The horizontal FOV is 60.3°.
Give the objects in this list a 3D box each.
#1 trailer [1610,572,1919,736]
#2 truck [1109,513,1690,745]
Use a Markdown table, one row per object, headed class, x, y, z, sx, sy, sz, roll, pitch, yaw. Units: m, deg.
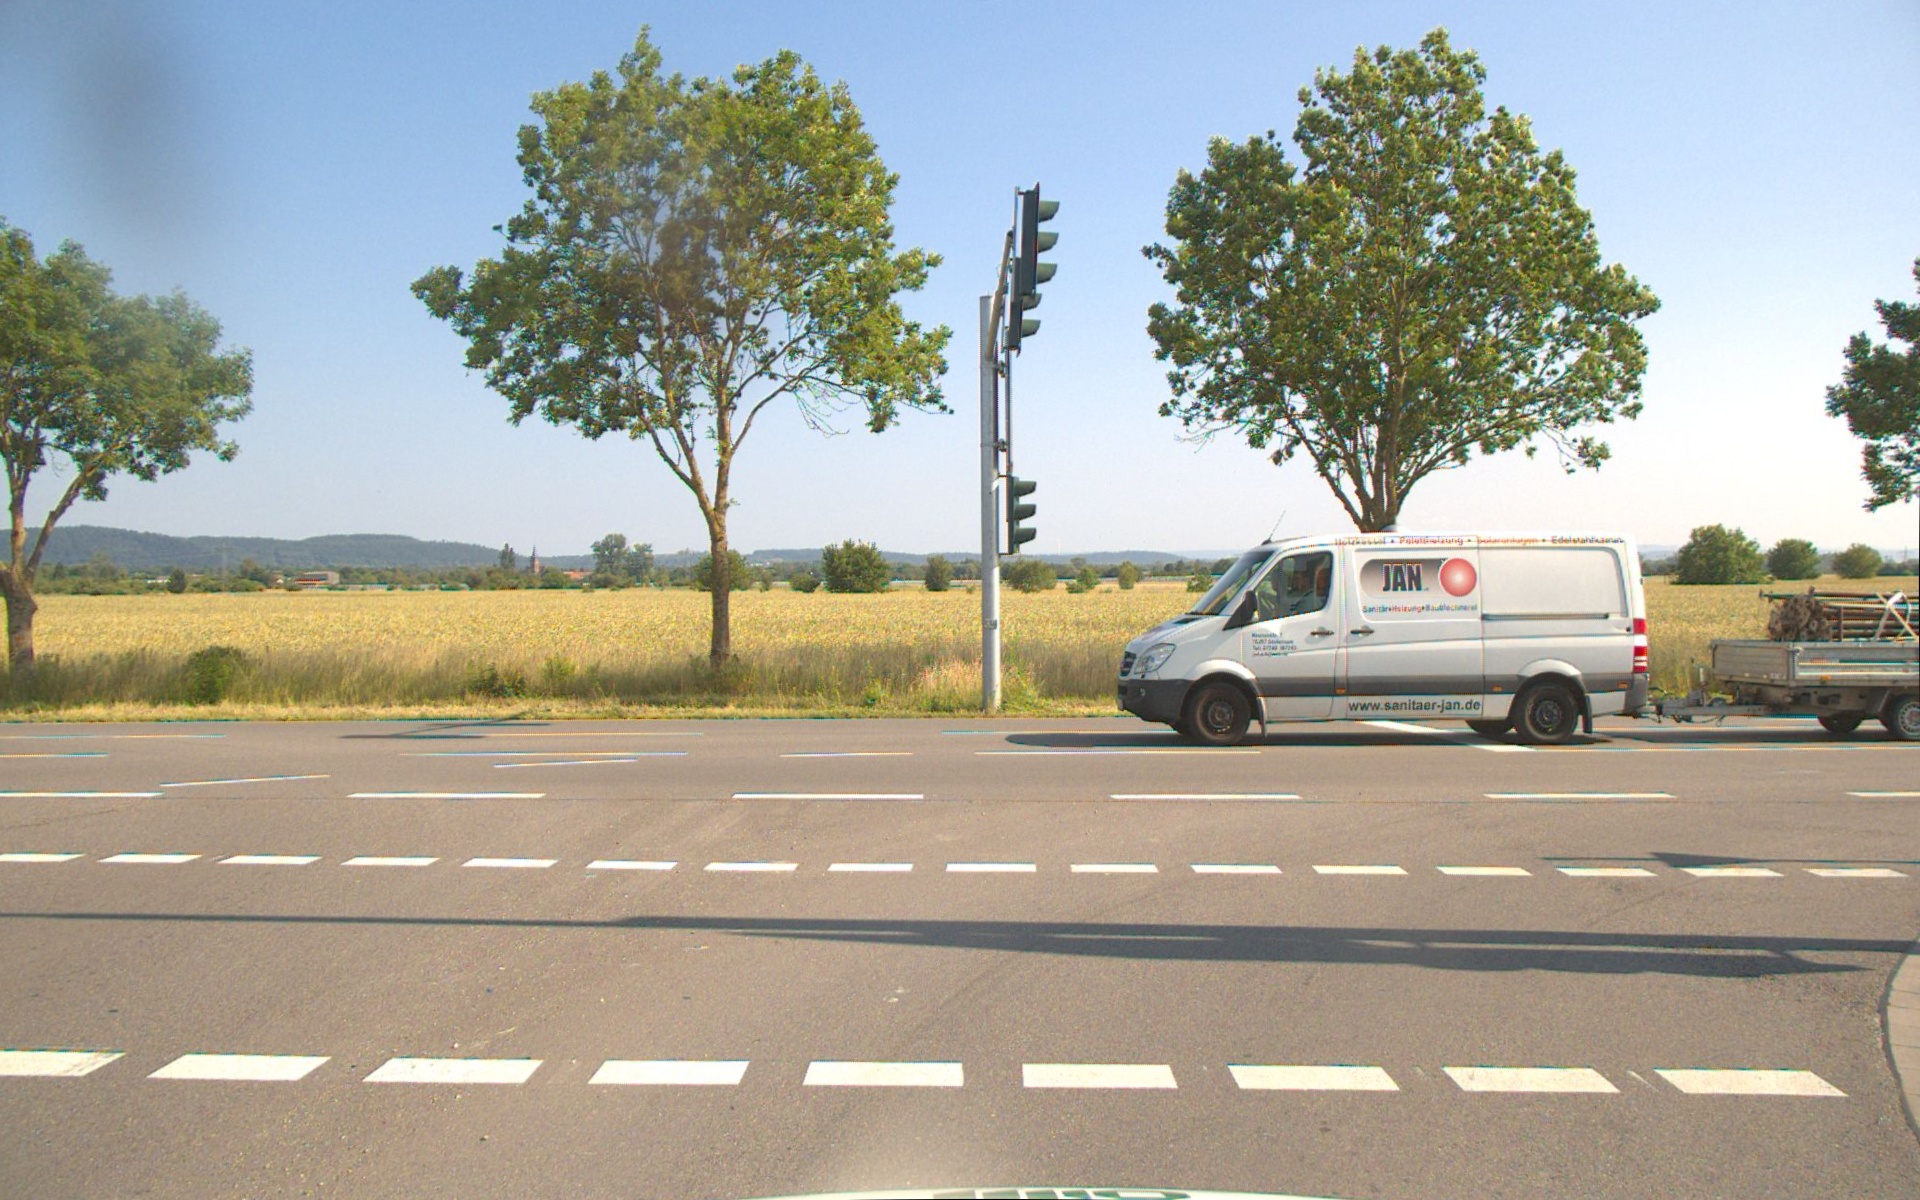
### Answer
| class | x | y | z | sx | sy | sz | roll | pitch | yaw |
| --- | --- | --- | --- | --- | --- | --- | --- | --- | --- |
| trailer | 10.315 | 0.589 | 19.044 | 4.894 | 1.768 | 1.980 | 0 | -1 | -2 |
| truck | 4.827 | 0.318 | 18.825 | 6.053 | 2.447 | 2.071 | 0 | -1 | -1 |
